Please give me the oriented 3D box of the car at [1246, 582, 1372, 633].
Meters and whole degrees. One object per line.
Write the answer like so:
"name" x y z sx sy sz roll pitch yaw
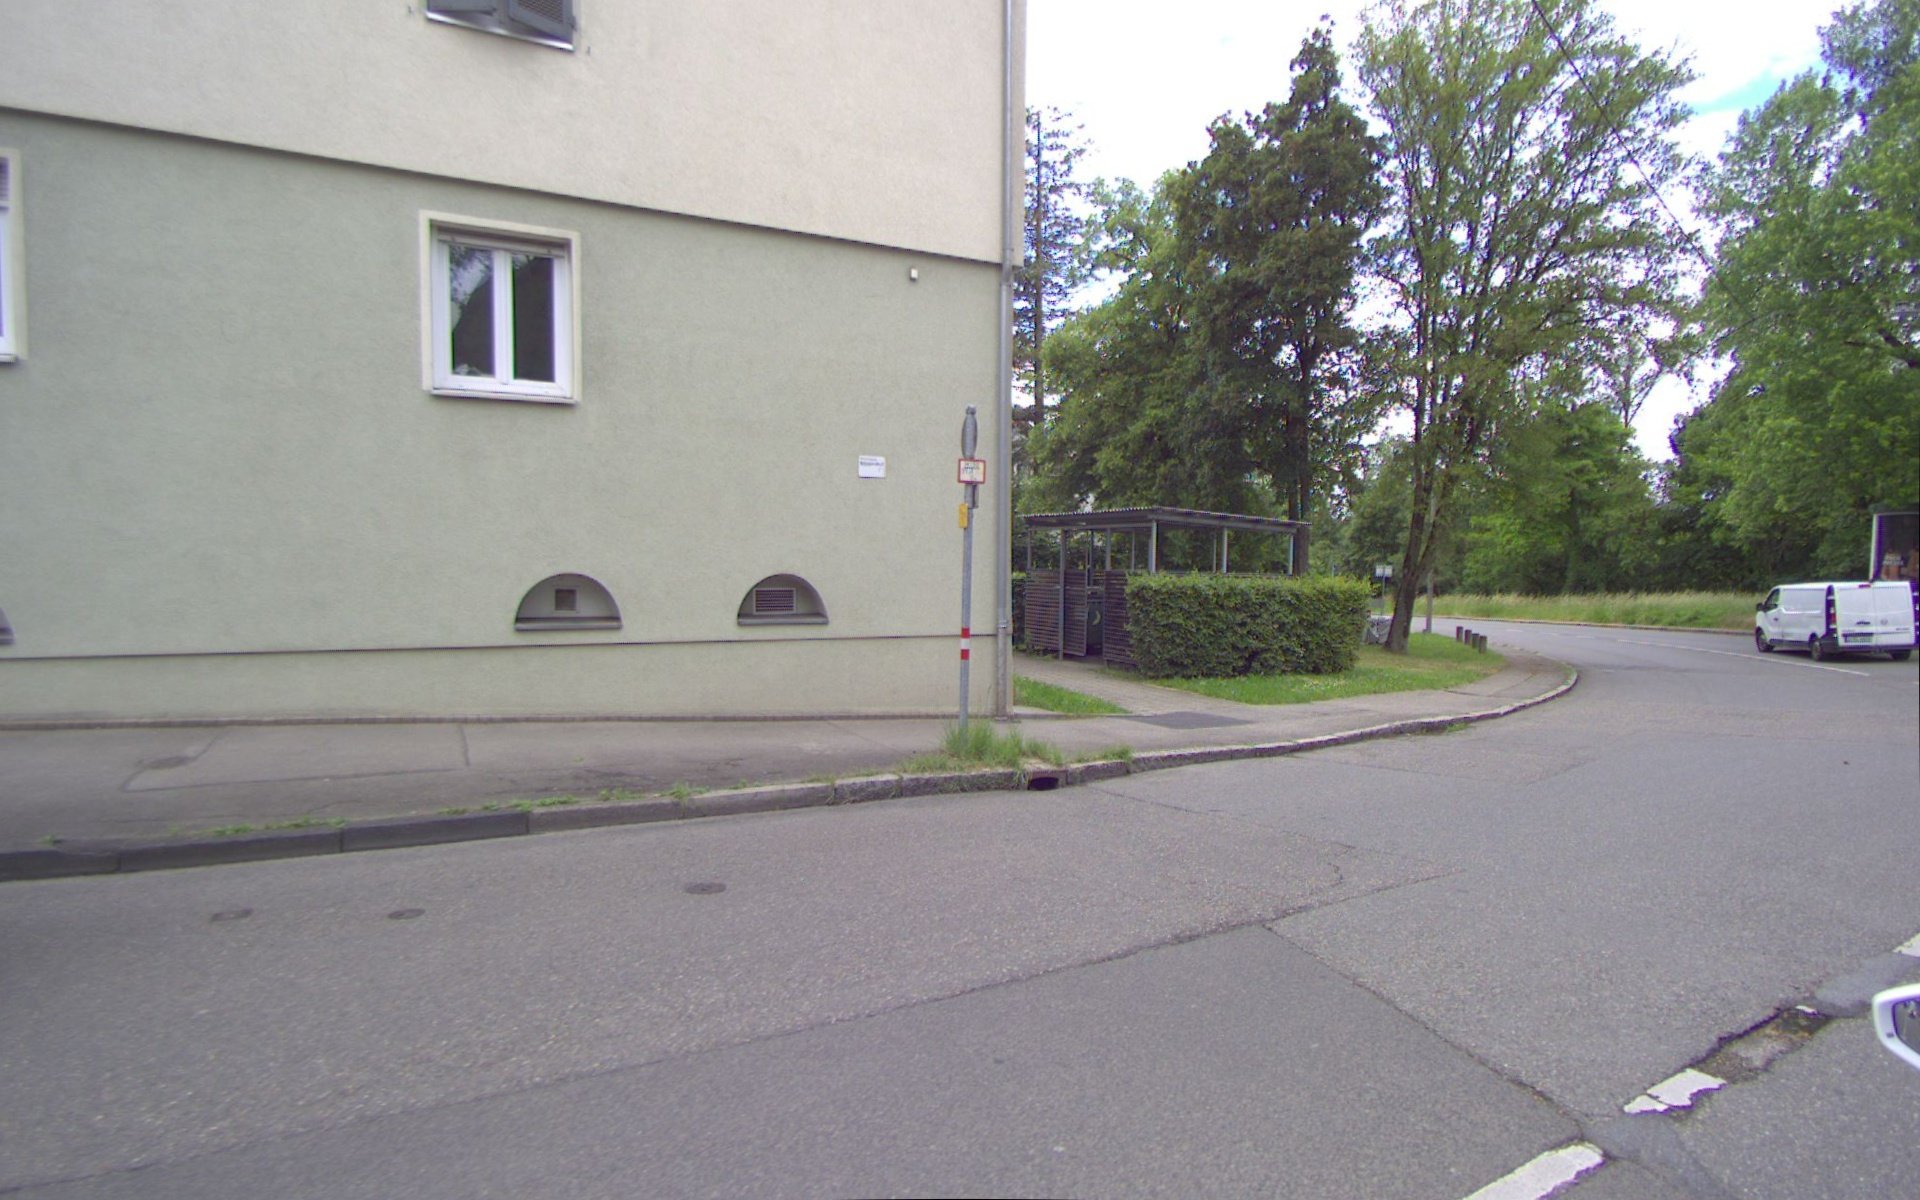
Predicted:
"car" 11.778 0.200 34.231 1.721 1.615 4.313 1 1 -20

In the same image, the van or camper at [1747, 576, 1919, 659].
"van or camper" 22.961 0.399 26.590 1.986 1.983 4.894 -1 1 21

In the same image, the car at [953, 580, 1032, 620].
"car" 1.270 -0.028 41.309 1.851 1.513 4.178 1 2 -20

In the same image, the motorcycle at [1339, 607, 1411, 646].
"motorcycle" 13.028 0.832 31.560 2.035 1.167 0.861 1 1 -20
